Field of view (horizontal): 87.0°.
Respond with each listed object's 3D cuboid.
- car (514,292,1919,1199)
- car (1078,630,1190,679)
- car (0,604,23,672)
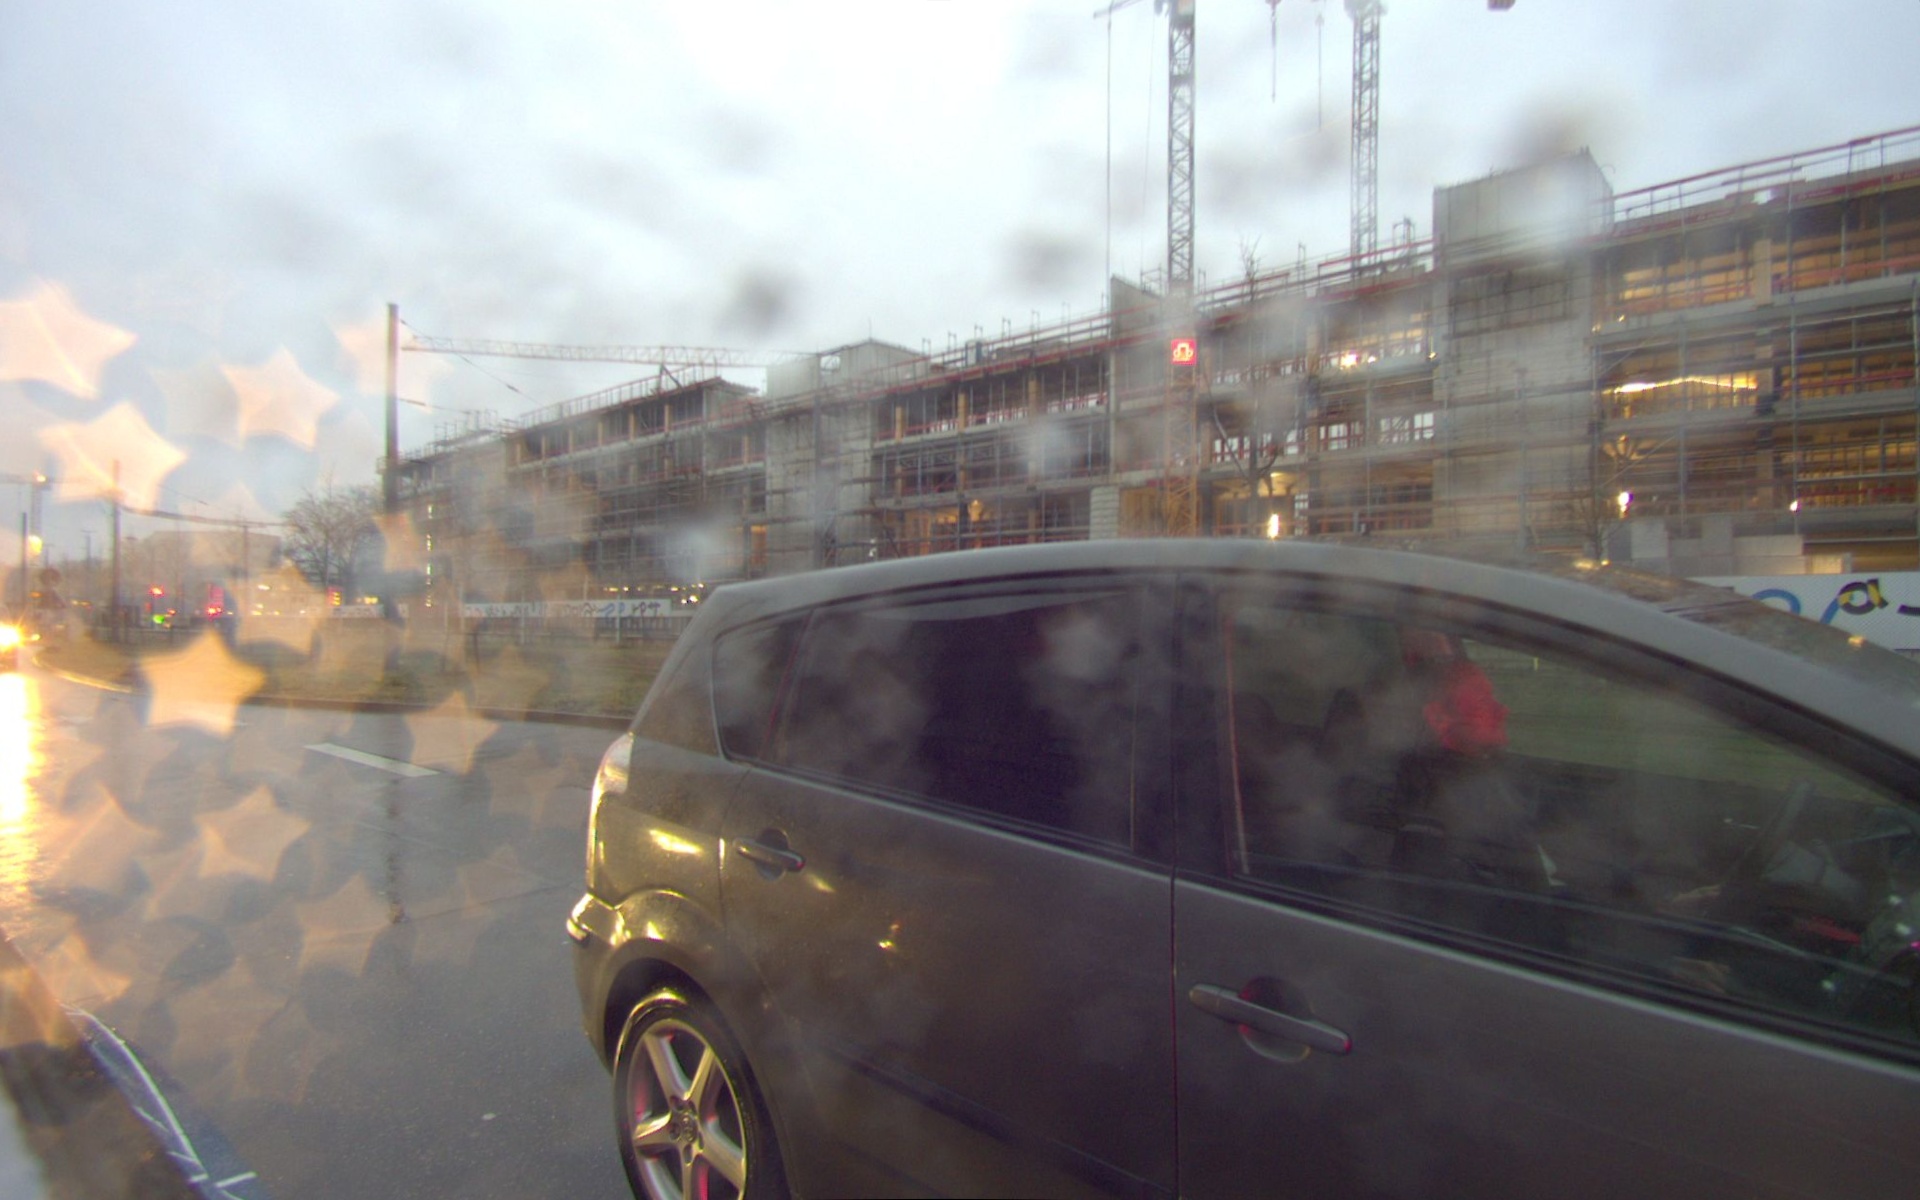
[{"bbox_3d":[1.027,0.534,1.841,3.996,1.606,1.742,-1,0,39],"label":"car"},{"bbox_3d":[6.963,2.133,40.628,3.995,1.785,1.974,-1,0,39],"label":"car"},{"bbox_3d":[-26.504,1.013,27.057,4.000,1.746,1.833,-1,0,43],"label":"car"}]
